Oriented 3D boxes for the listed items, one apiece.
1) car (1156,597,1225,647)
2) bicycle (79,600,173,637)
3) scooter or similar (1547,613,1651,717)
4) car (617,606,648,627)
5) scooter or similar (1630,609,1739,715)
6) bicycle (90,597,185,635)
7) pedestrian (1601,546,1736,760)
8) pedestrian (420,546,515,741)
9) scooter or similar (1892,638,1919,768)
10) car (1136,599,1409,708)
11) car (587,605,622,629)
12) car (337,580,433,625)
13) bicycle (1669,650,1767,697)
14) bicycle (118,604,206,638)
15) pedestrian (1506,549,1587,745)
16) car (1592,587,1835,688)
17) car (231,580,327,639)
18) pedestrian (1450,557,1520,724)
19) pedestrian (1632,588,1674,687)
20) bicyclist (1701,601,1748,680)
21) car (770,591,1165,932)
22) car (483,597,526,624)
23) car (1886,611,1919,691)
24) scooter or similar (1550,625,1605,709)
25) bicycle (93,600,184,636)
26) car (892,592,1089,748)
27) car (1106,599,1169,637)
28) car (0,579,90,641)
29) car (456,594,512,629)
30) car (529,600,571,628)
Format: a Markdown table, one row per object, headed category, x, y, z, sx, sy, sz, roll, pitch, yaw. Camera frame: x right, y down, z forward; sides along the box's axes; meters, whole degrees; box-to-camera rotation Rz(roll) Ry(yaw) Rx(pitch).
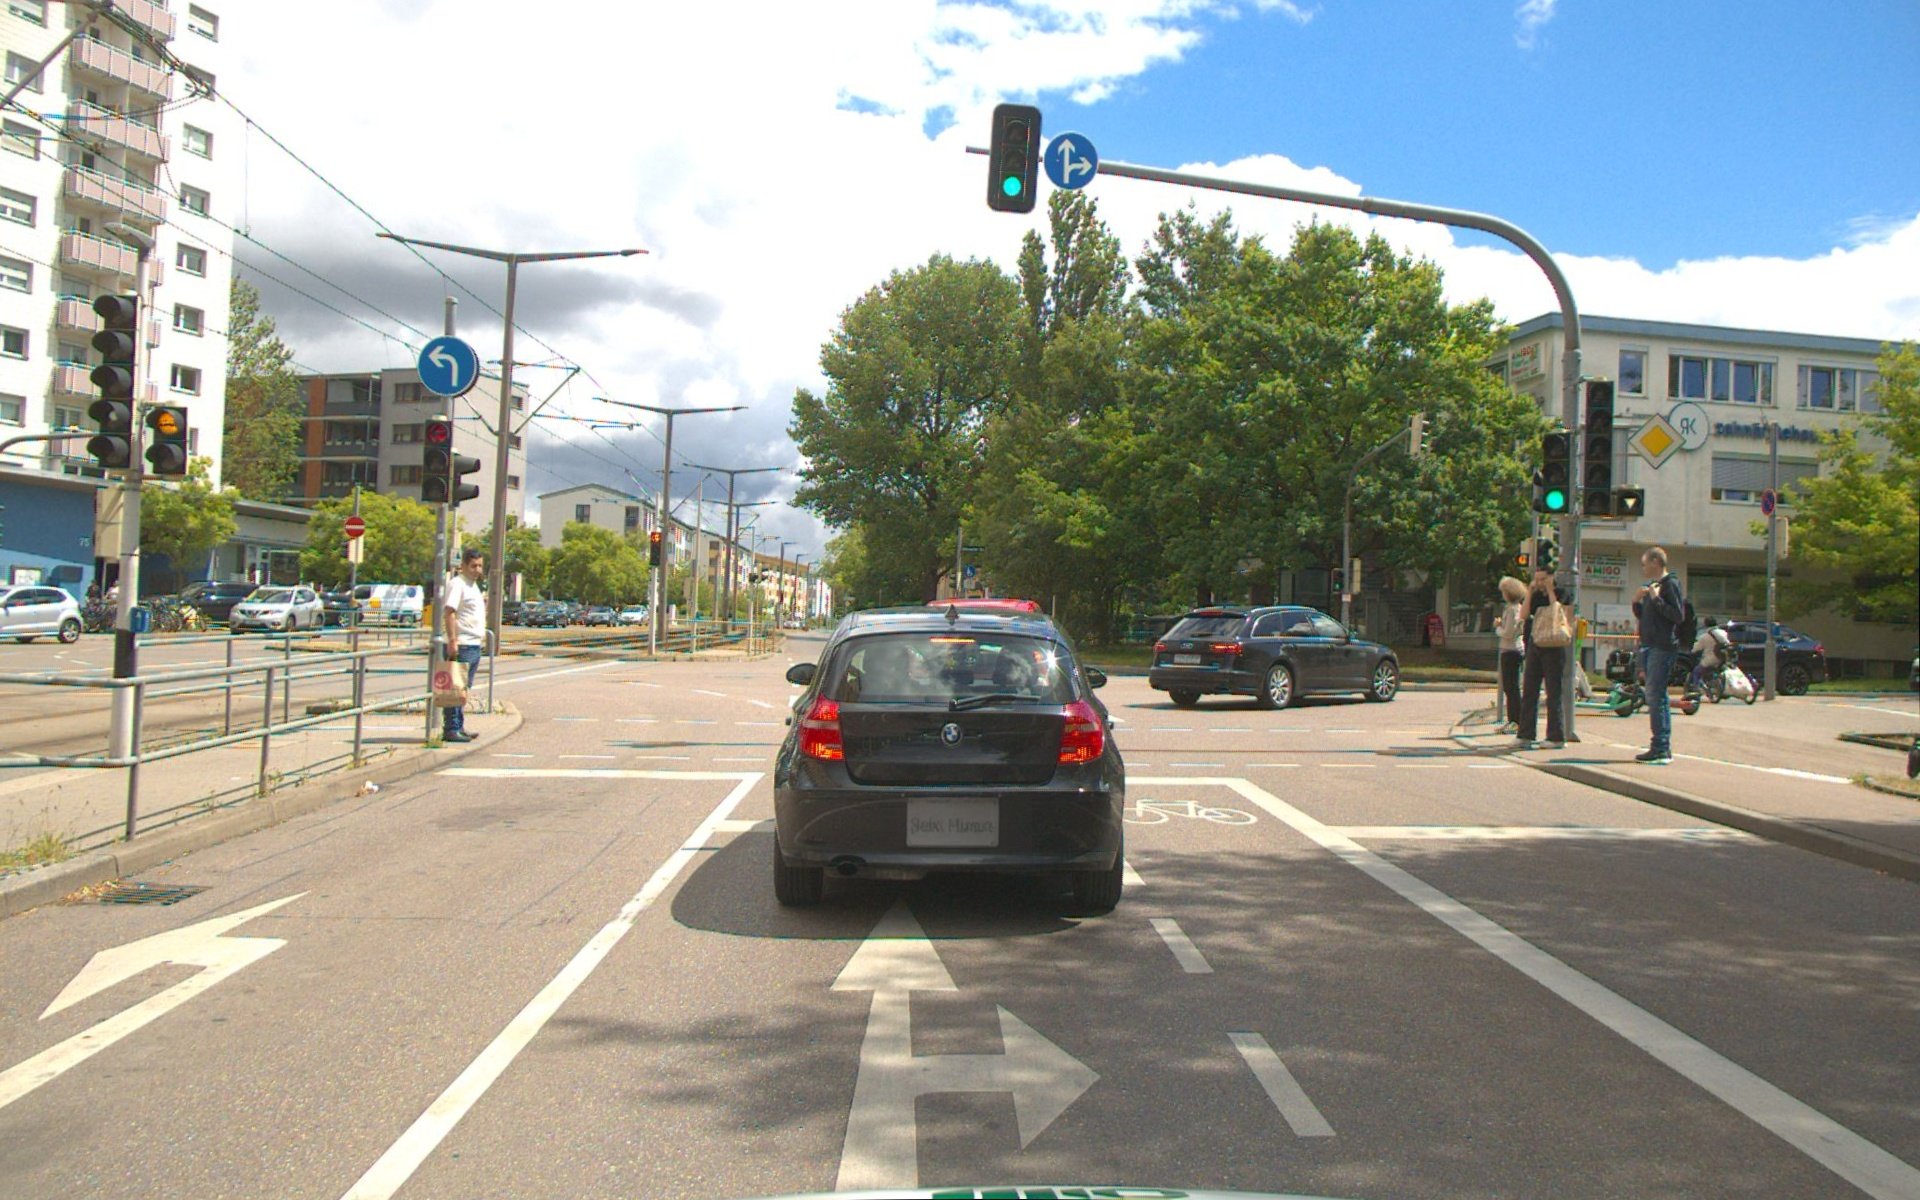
| category | x | y | z | sx | sy | sz | roll | pitch | yaw |
| --- | --- | --- | --- | --- | --- | --- | --- | --- | --- |
| car | 9.381 | 0.868 | 67.555 | 1.694 | 1.904 | 3.992 | 1 | 0 | -9 |
| bicycle | -25.652 | 0.578 | 50.884 | 2.528 | 1.026 | 0.749 | 3 | -2 | -29 |
| scooter or similar | 7.967 | 0.802 | 20.646 | 1.086 | 1.256 | 0.540 | 1 | 0 | 2 |
| car | -25.025 | 1.241 | 126.413 | 1.618 | 1.561 | 3.870 | 1 | 0 | -2 |
| scooter or similar | 9.395 | 0.796 | 21.472 | 1.127 | 1.294 | 0.555 | 2 | 0 | 2 |
| bicycle | -24.928 | 0.490 | 50.131 | 2.528 | 1.026 | 0.749 | 3 | -2 | -29 |
| pedestrian | 6.558 | 0.473 | 15.350 | 0.779 | 1.909 | 1.013 | 1 | 0 | -1 |
| pedestrian | -4.572 | 0.393 | 15.386 | 0.673 | 1.764 | 0.687 | 0 | 0 | -1 |
| scooter or similar | 9.815 | 1.052 | 16.318 | 0.872 | 1.251 | 0.455 | 6 | 0 | 0 |
| car | 4.762 | 0.766 | 24.794 | 1.874 | 1.447 | 4.508 | 1 | 0 | 44 |
| car | -24.410 | 1.171 | 113.728 | 1.618 | 1.561 | 3.870 | 1 | 0 | -2 |
| car | -26.706 | 0.120 | 76.873 | 3.892 | 2.009 | 1.631 | 1 | 0 | -43 |
| bicycle | 11.527 | 1.105 | 25.190 | 0.523 | 0.620 | 1.586 | 1 | 0 | -11 |
| bicycle | -26.068 | 0.699 | 54.033 | 2.528 | 1.026 | 0.749 | 3 | -2 | -29 |
| pedestrian | 5.807 | 0.456 | 16.409 | 0.622 | 1.909 | 0.518 | 1 | 0 | 6 |
| car | 16.468 | 0.798 | 36.254 | 4.449 | 2.049 | 1.997 | 1 | 0 | -8 |
| car | -21.892 | 0.283 | 53.341 | 1.559 | 1.787 | 3.774 | 1 | 0 | -1 |
| pedestrian | 5.779 | 0.438 | 18.227 | 0.622 | 1.797 | 0.518 | 1 | 0 | 6 |
| pedestrian | 12.486 | 0.671 | 29.801 | 0.644 | 1.743 | 0.461 | 1 | 0 | 26 |
| bicyclist | 11.565 | 0.611 | 25.032 | 0.492 | 1.177 | 0.398 | 1 | 0 | -14 |
| car | 0.027 | 0.682 | 8.785 | 1.665 | 1.424 | 3.420 | 1 | 0 | 0 |
| car | -27.399 | 0.615 | 99.543 | 1.559 | 1.500 | 3.774 | 1 | 0 | -1 |
| car | 23.764 | 1.212 | 37.724 | 4.290 | 1.795 | 1.996 | 1 | 0 | -9 |
| scooter or similar | 8.449 | 0.901 | 22.667 | 0.536 | 1.082 | 1.263 | 1 | 0 | 13 |
| bicycle | -25.813 | 0.565 | 51.985 | 2.528 | 1.026 | 0.749 | 3 | -2 | -29 |
| car | 0.411 | 0.657 | 17.287 | 1.603 | 1.424 | 3.423 | 1 | 0 | 8 |
| car | 8.385 | 0.841 | 78.454 | 1.830 | 1.691 | 3.989 | 1 | 0 | -11 |
| car | -23.610 | 0.243 | 40.962 | 1.377 | 1.486 | 3.776 | 1 | 0 | 17 |
| car | -22.699 | 0.537 | 79.026 | 1.618 | 1.561 | 3.870 | 1 | 0 | -2 |
| car | -24.169 | 0.808 | 97.597 | 1.618 | 1.561 | 3.870 | 1 | 0 | -2 |
